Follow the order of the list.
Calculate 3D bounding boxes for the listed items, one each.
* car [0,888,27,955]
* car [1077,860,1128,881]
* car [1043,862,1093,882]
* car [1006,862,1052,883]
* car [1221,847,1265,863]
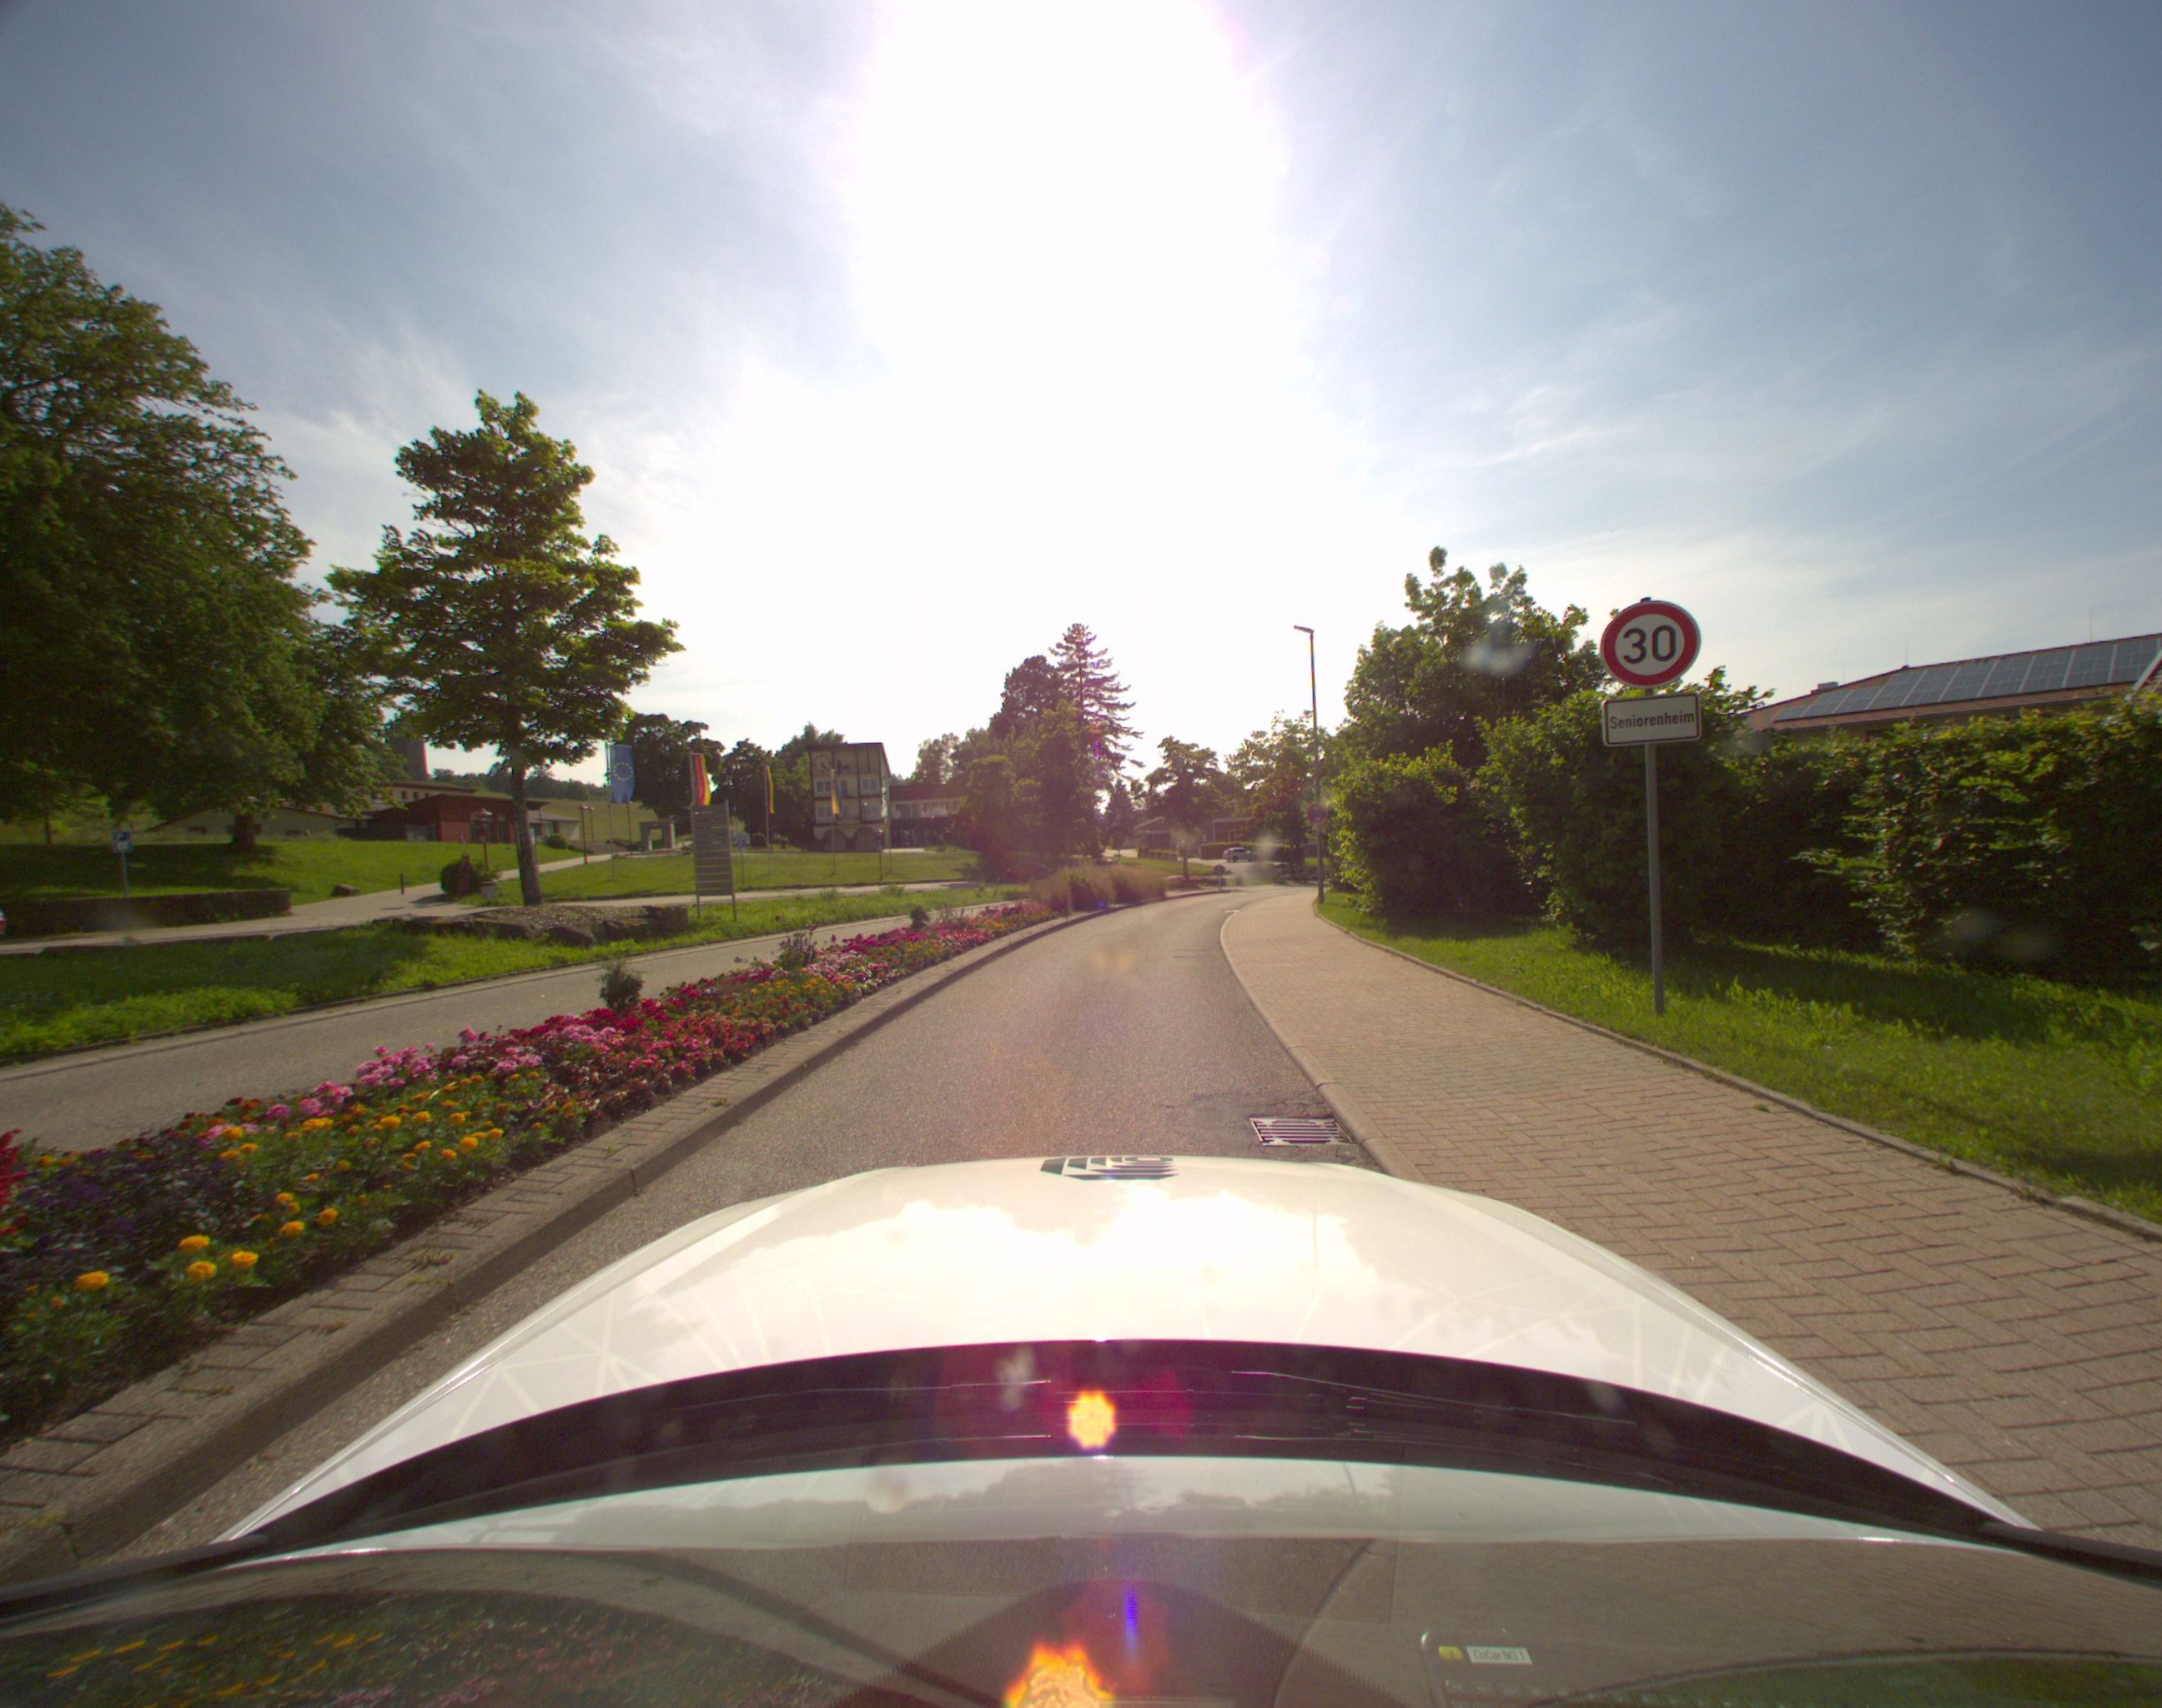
[{"bbox_3d":[-25.220,1.488,17.056,4.204,1.399,1.826,-1,0,5],"label":"car"},{"bbox_3d":[1.744,1.307,66.560,3.892,1.609,1.787,0,0,43],"label":"car"},{"bbox_3d":[-1.038,1.400,63.624,3.667,1.433,1.787,0,0,44],"label":"car"},{"bbox_3d":[-3.940,1.397,61.372,3.167,1.470,1.787,0,0,42],"label":"car"},{"bbox_3d":[18.863,0.085,94.959,4.721,1.533,1.992,-3,5,-14],"label":"car"}]
